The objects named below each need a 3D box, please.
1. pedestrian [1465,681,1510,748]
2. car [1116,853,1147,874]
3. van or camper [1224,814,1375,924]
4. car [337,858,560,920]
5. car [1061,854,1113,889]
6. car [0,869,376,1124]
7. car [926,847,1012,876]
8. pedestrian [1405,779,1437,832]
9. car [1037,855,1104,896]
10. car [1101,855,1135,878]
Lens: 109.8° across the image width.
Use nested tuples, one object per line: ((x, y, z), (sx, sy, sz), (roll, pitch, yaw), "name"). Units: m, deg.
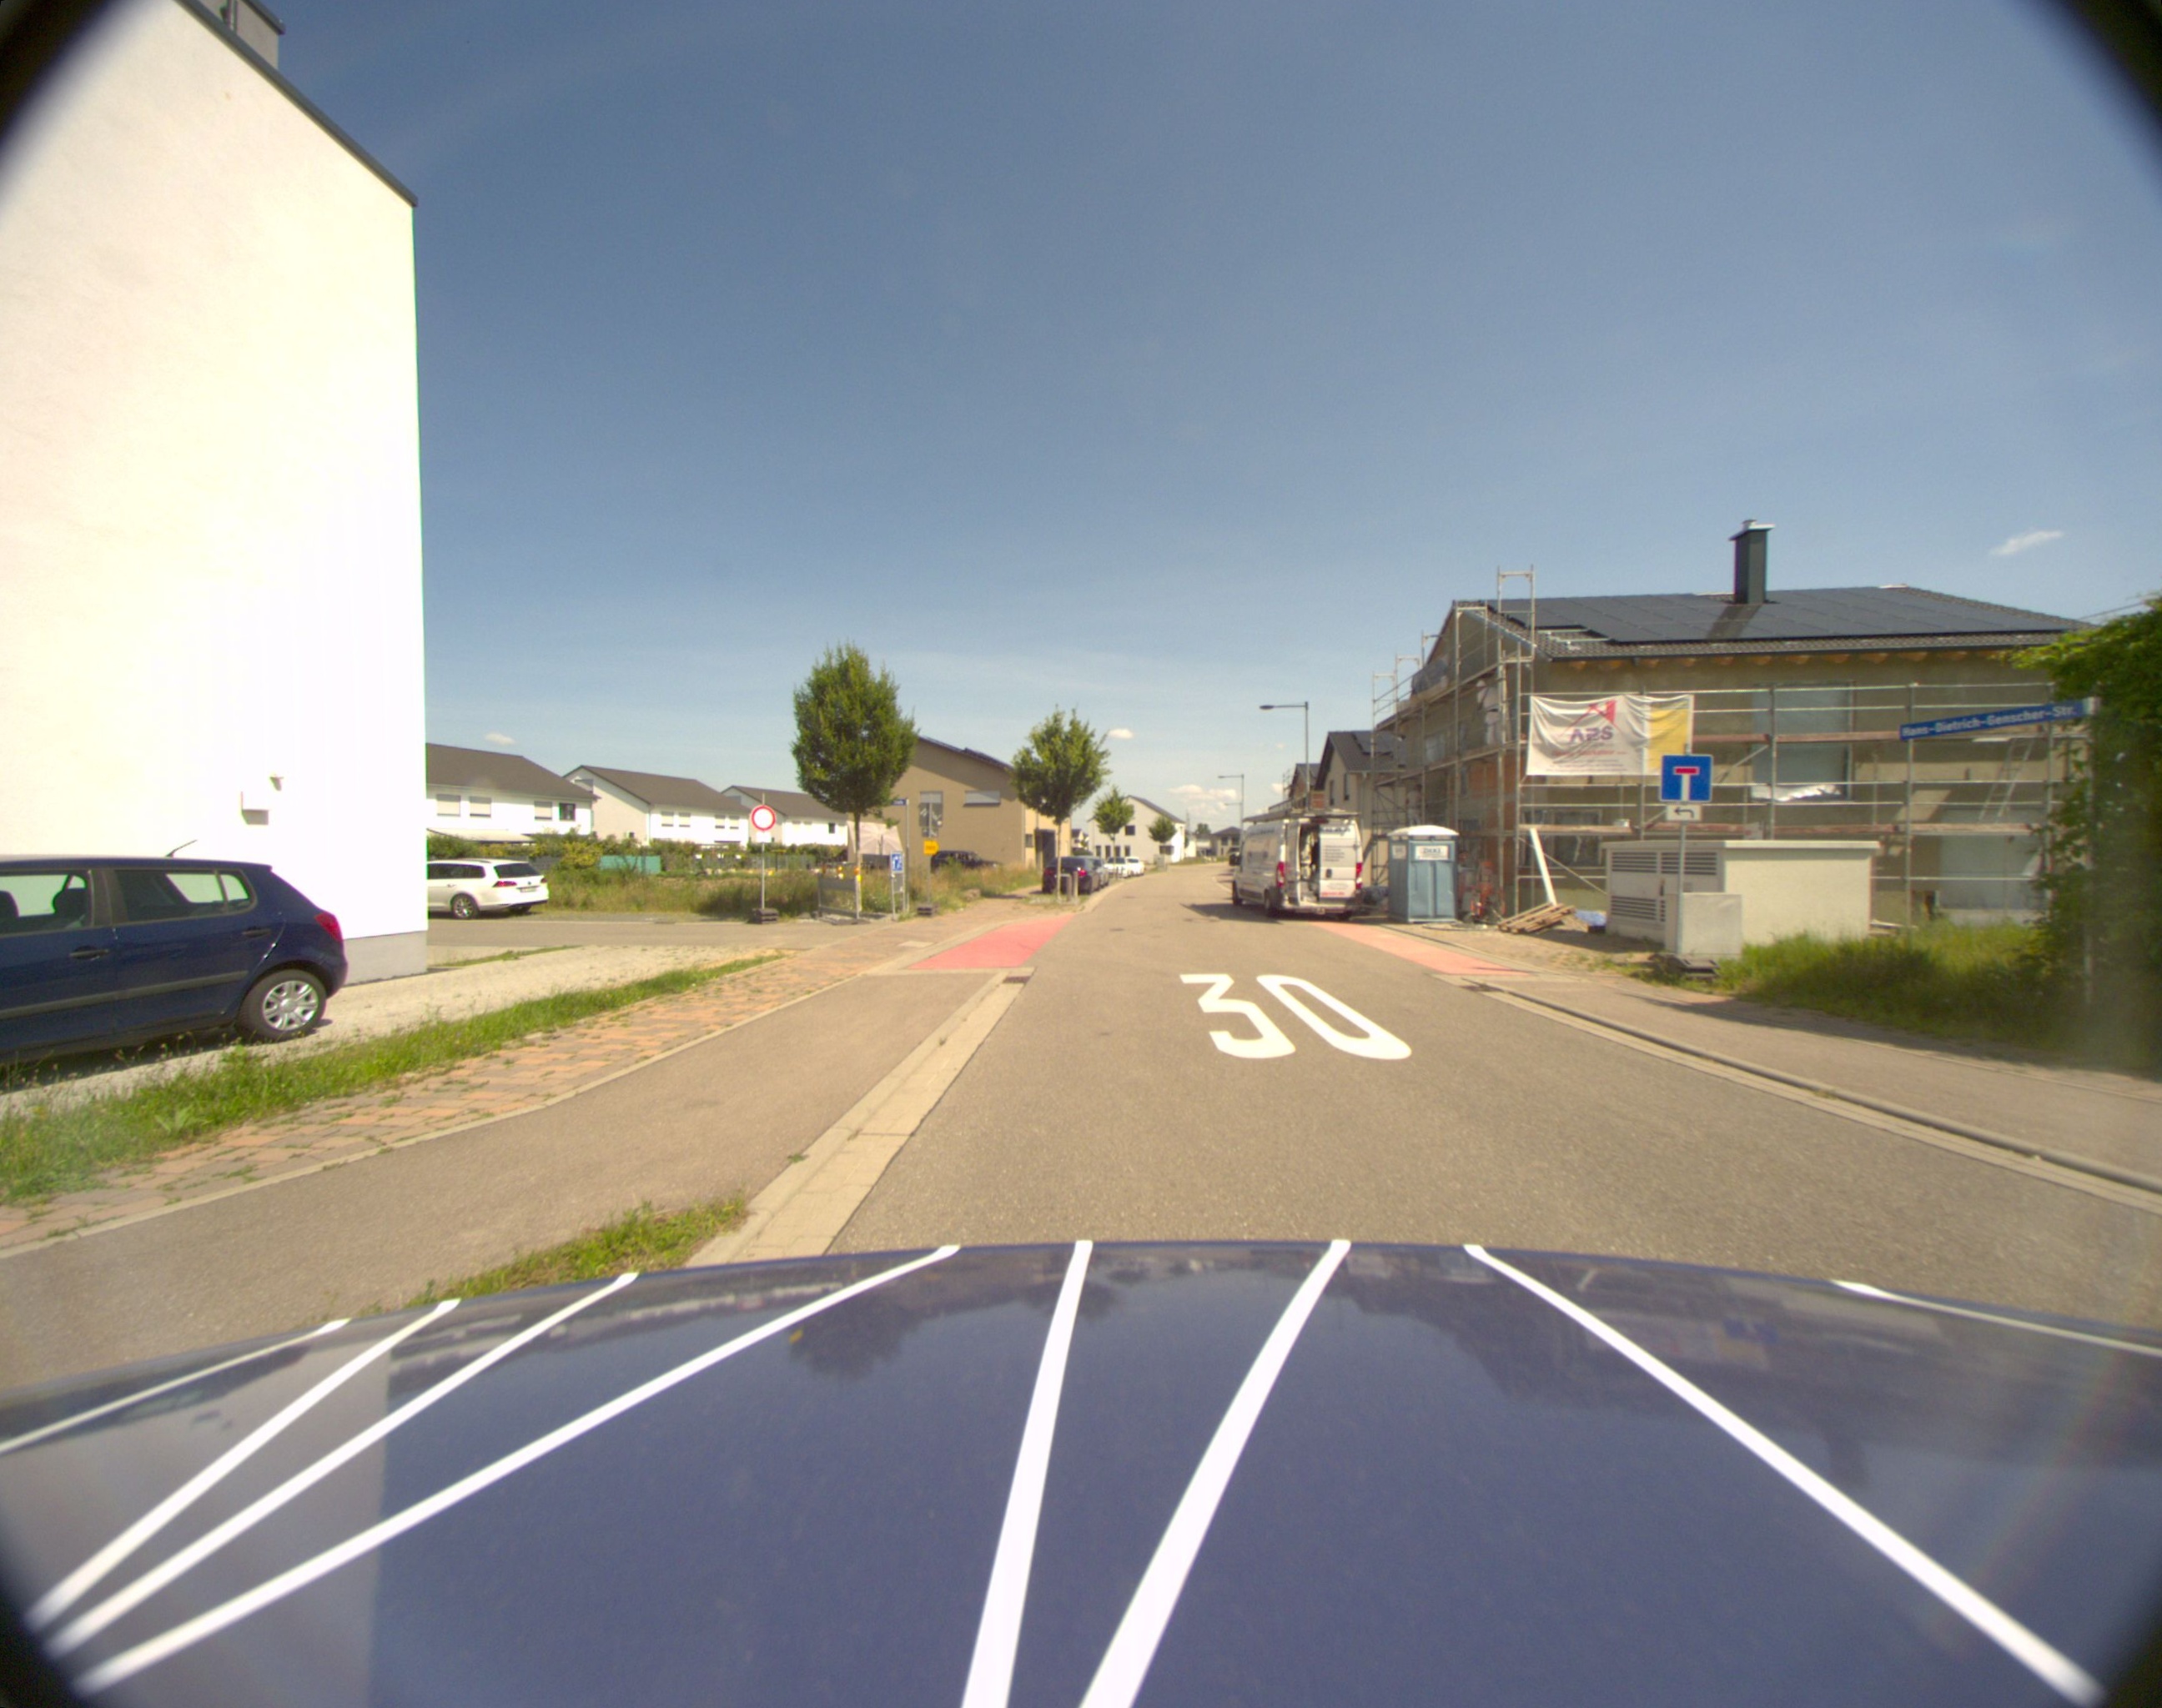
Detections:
((9.862, -3.370, 18.444), (0.564, 1.491, 0.746), (-2, 3, -31), "pedestrian")
((3.944, 0.691, 58.581), (1.817, 1.447, 4.568), (1, 1, 11), "car")
((5.621, 0.281, 20.648), (2.278, 2.539, 6.366), (0, 1, 0), "van or camper")
((-15.880, 0.847, 19.230), (4.167, 1.427, 1.883), (0, 2, 4), "car")
((0.363, 0.772, 36.542), (1.922, 1.502, 5.297), (1, 0, 6), "car")
((-7.221, 0.882, 4.715), (1.681, 1.461, 4.117), (-1, 0, 4), "car")
((-6.694, 0.410, 45.672), (4.754, 1.635, 2.001), (1, 2, 8), "car")
((10.846, -1.546, 24.270), (0.747, 1.671, 0.578), (0, 3, 2), "pedestrian")
((-0.315, 0.781, 30.461), (1.922, 1.461, 5.143), (1, 0, 8), "car")
((2.602, 0.827, 52.390), (1.782, 1.417, 4.517), (1, 0, 9), "car")
